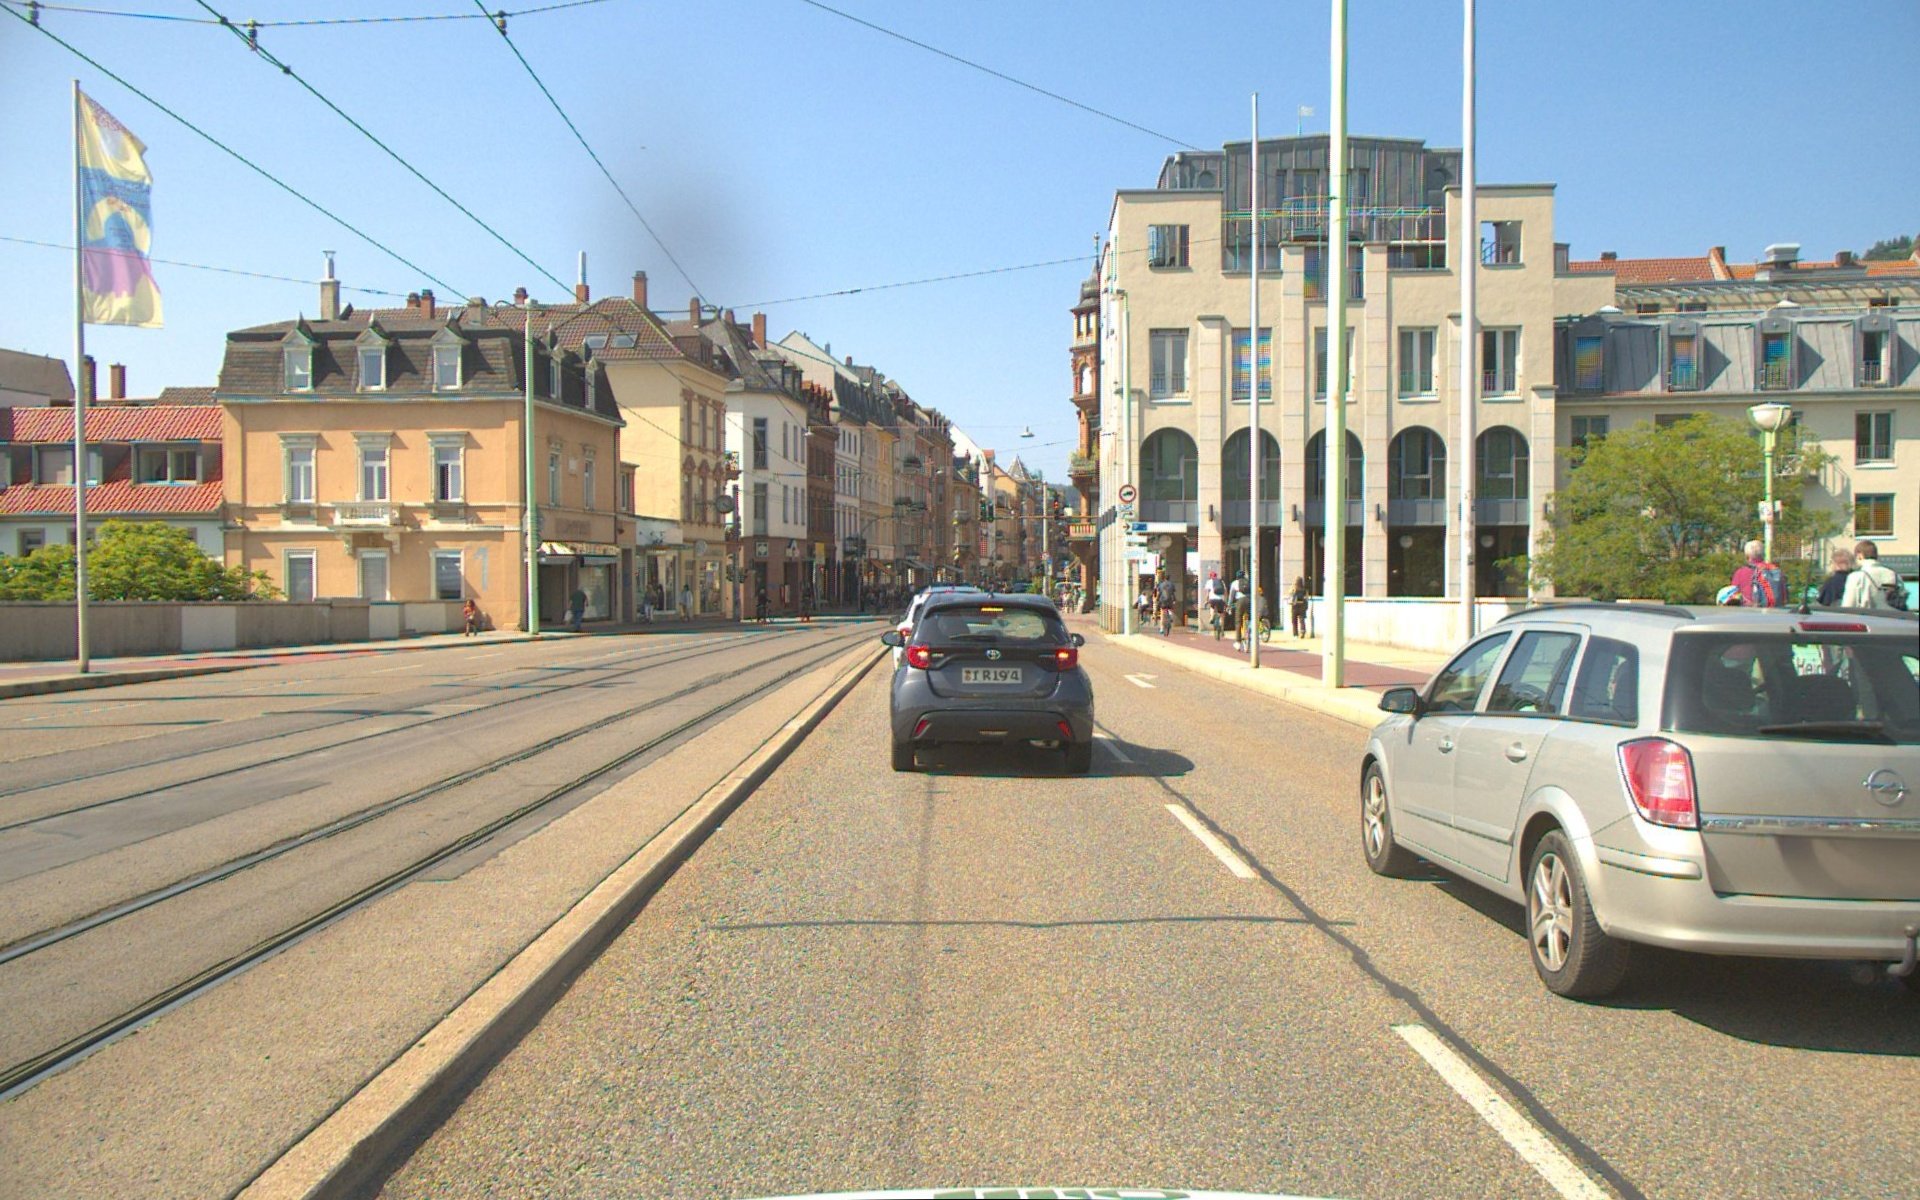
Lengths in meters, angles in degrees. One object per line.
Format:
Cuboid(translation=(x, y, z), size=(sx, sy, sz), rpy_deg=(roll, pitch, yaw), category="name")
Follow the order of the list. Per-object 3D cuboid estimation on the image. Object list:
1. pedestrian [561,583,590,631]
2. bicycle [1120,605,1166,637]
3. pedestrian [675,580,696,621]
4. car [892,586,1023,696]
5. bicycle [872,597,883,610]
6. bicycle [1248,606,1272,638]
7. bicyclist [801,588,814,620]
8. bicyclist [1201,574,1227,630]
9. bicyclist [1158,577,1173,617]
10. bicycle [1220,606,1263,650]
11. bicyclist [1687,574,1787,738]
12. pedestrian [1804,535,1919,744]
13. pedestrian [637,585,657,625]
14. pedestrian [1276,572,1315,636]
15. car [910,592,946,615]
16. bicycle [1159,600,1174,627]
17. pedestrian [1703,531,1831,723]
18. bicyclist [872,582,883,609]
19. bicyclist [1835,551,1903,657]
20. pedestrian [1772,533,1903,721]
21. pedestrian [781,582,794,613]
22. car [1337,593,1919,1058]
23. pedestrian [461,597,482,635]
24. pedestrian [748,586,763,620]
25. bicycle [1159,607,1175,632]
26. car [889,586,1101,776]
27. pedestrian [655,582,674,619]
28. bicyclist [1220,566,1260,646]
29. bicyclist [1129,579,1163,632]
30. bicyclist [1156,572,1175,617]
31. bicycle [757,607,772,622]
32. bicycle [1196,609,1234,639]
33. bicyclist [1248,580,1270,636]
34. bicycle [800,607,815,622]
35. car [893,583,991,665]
Cuboid(translation=(-13.831, 0.246, 59.512), size=(0.746, 1.682, 0.712), rpy_deg=(4, 0, 5), category="pedestrian")
Cuboid(translation=(9.177, 1.056, 83.002), size=(1.095, 1.444, 2.992), rpy_deg=(4, 0, -18), category="bicycle")
Cuboid(translation=(-12.473, 0.038, 75.127), size=(0.721, 1.796, 0.787), rpy_deg=(4, 0, 0), category="pedestrian")
Cuboid(translation=(-0.063, 0.580, 25.887), size=(1.858, 1.557, 3.999), rpy_deg=(1, 0, -1), category="car")
Cuboid(translation=(-5.093, 0.216, 102.227), size=(0.607, 0.728, 1.731), rpy_deg=(1, 1, 0), category="bicycle")
Cuboid(translation=(7.631, 0.556, 42.132), size=(0.408, 0.779, 0.962), rpy_deg=(-2, 0, 0), category="bicycle")
Cuboid(translation=(-8.161, 0.223, 88.563), size=(0.614, 1.679, 0.622), rpy_deg=(1, 1, 0), category="bicyclist")
Cuboid(translation=(6.845, 0.055, 44.552), size=(0.480, 1.492, 0.437), rpy_deg=(-2, 0, -39), category="bicyclist")
Cuboid(translation=(6.715, -0.103, 54.053), size=(0.413, 1.278, 0.443), rpy_deg=(-2, 0, 2), category="bicyclist")
Cuboid(translation=(6.153, 0.601, 36.234), size=(0.689, 0.898, 1.525), rpy_deg=(-1, 0, 0), category="bicycle")
Cuboid(translation=(6.870, 0.483, 14.648), size=(0.523, 1.407, 0.669), rpy_deg=(-2, 0, -1), category="bicyclist")
Cuboid(translation=(8.051, 0.322, 14.460), size=(0.739, 1.748, 1.073), rpy_deg=(-2, 0, -1), category="pedestrian")
Cuboid(translation=(-13.297, 0.214, 70.265), size=(0.636, 1.629, 0.566), rpy_deg=(4, 2, 0), category="pedestrian")
Cuboid(translation=(9.035, 0.107, 44.591), size=(0.724, 1.642, 1.015), rpy_deg=(4, 0, -1), category="pedestrian")
Cuboid(translation=(-2.153, 0.214, 111.750), size=(1.694, 1.486, 4.377), rpy_deg=(0, 0, 9), category="car")
Cuboid(translation=(6.284, 0.409, 50.438), size=(0.407, 0.779, 1.206), rpy_deg=(-2, 0, 6), category="bicycle")
Cuboid(translation=(8.034, 0.258, 16.510), size=(0.724, 1.833, 1.015), rpy_deg=(-2, 0, -1), category="pedestrian")
Cuboid(translation=(-5.079, -0.277, 102.140), size=(0.614, 1.679, 0.622), rpy_deg=(1, 1, 0), category="bicyclist")
Cuboid(translation=(15.114, 0.063, 27.529), size=(0.903, 1.725, 1.142), rpy_deg=(-1, 0, 26), category="bicyclist")
Cuboid(translation=(8.791, 0.257, 16.612), size=(0.724, 1.808, 1.015), rpy_deg=(-2, 0, -1), category="pedestrian")
Cuboid(translation=(-10.226, -0.150, 98.157), size=(0.721, 1.797, 0.787), rpy_deg=(0, 1, -1), category="pedestrian")
Cuboid(translation=(3.081, 0.731, 7.541), size=(1.671, 1.491, 4.325), rpy_deg=(1, 0, -1), category="car")
Cuboid(translation=(-15.682, 0.516, 53.071), size=(0.403, 1.166, 0.545), rpy_deg=(4, 0, 6), category="pedestrian")
Cuboid(translation=(-10.827, 0.167, 87.602), size=(0.721, 1.797, 0.787), rpy_deg=(0, 1, 0), category="pedestrian")
Cuboid(translation=(6.749, 0.640, 54.016), size=(0.407, 0.779, 0.962), rpy_deg=(-2, 0, 3), category="bicycle")
Cuboid(translation=(0.264, 0.643, 15.192), size=(1.685, 1.499, 3.657), rpy_deg=(1, 0, -1), category="car")
Cuboid(translation=(-13.580, 0.021, 76.017), size=(0.636, 1.629, 0.566), rpy_deg=(4, 2, 0), category="pedestrian")
Cuboid(translation=(6.131, 0.126, 36.217), size=(0.687, 1.725, 0.924), rpy_deg=(-1, 0, 0), category="bicyclist")
Cuboid(translation=(9.331, 0.277, 82.945), size=(1.209, 2.572, 1.099), rpy_deg=(4, 0, -18), category="bicyclist")
Cuboid(translation=(6.258, -0.164, 50.381), size=(0.527, 1.339, 0.672), rpy_deg=(-2, 0, 6), category="bicyclist")
Cuboid(translation=(-10.307, 0.777, 87.209), size=(0.607, 0.728, 1.771), rpy_deg=(1, 1, 0), category="bicycle")
Cuboid(translation=(6.865, 0.646, 44.554), size=(0.414, 0.779, 0.948), rpy_deg=(-2, 0, -39), category="bicycle")
Cuboid(translation=(7.620, 0.209, 42.156), size=(0.413, 1.407, 0.443), rpy_deg=(-2, 0, -1), category="bicyclist")
Cuboid(translation=(-8.173, 0.788, 88.586), size=(0.607, 0.728, 1.771), rpy_deg=(1, 1, 0), category="bicycle")
Cuboid(translation=(-0.375, 0.457, 34.071), size=(1.858, 1.557, 3.999), rpy_deg=(1, 0, -1), category="car")
